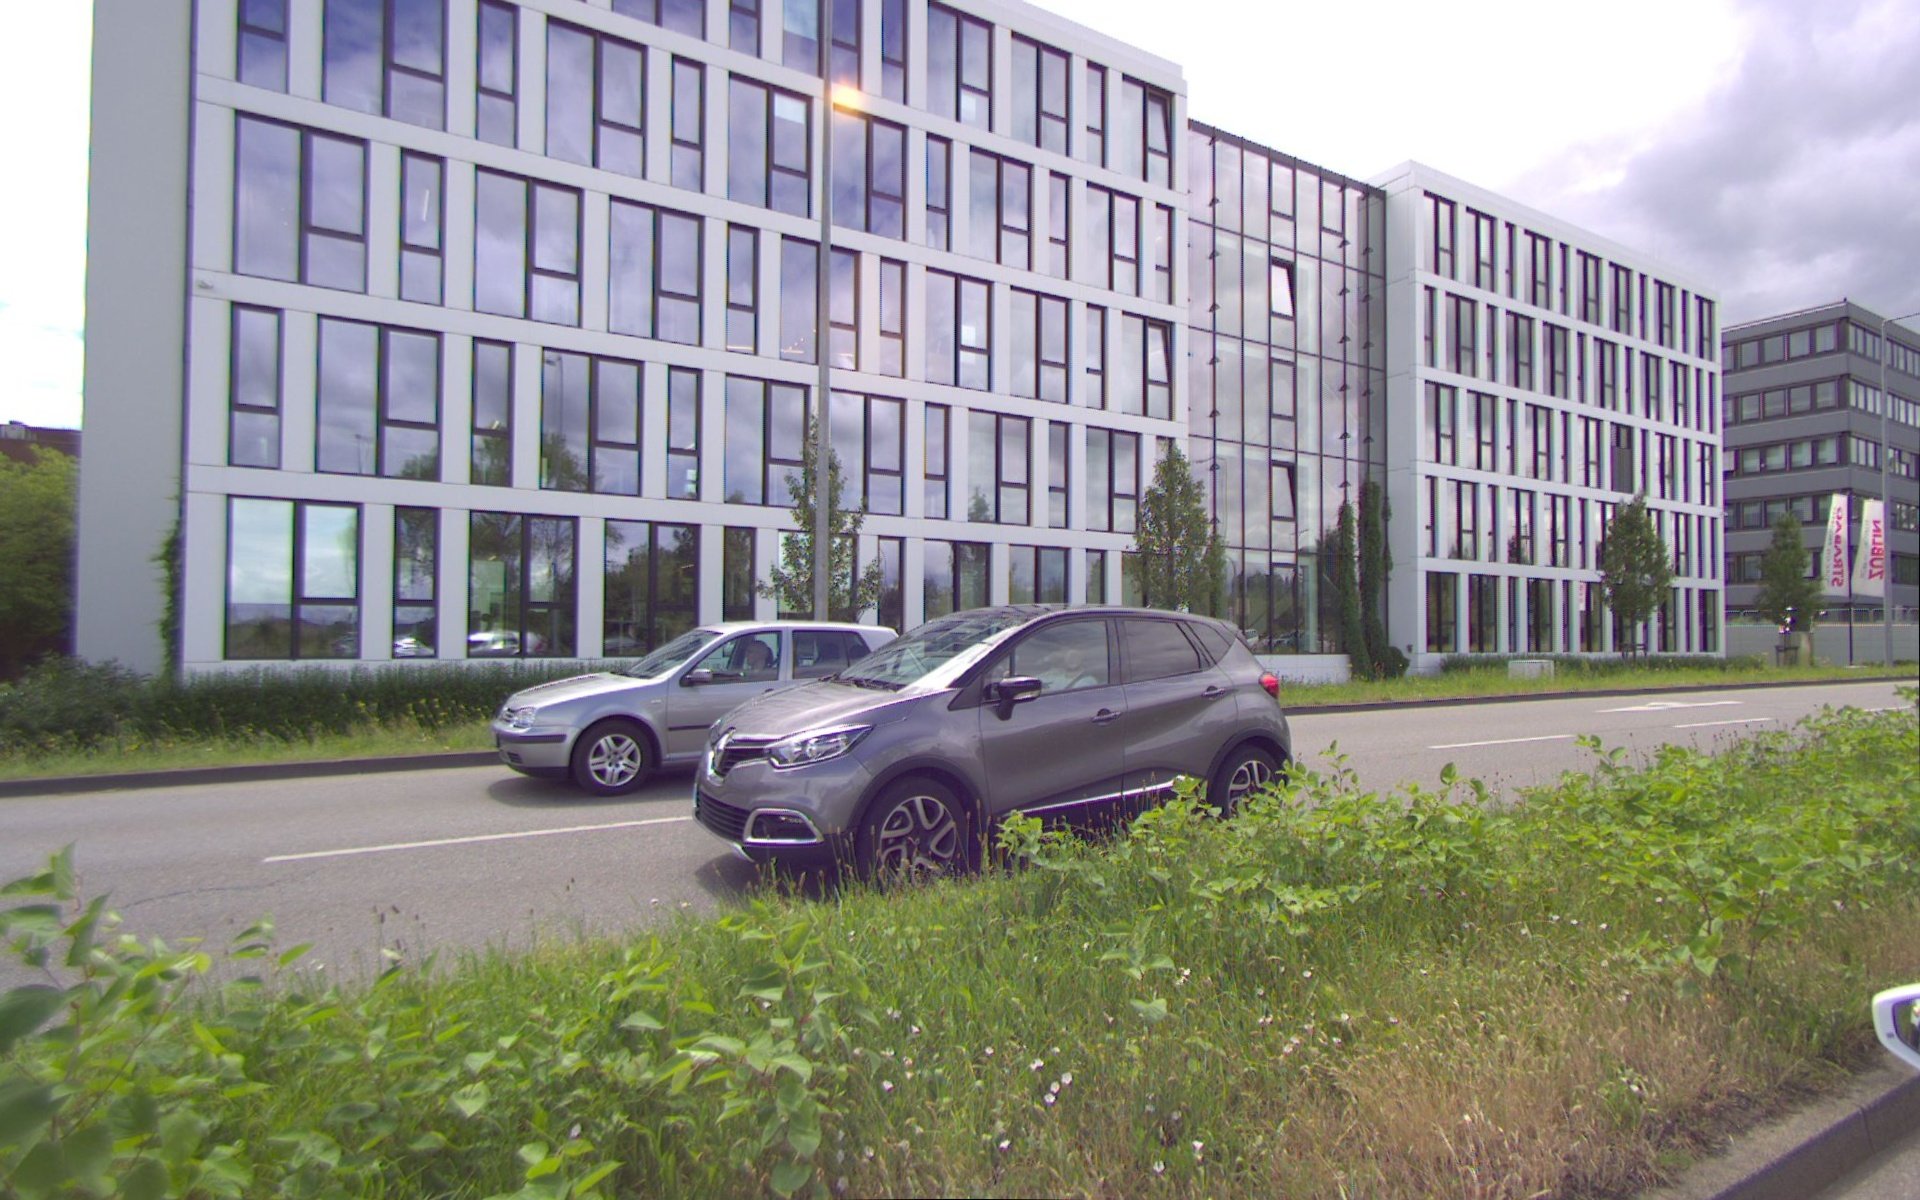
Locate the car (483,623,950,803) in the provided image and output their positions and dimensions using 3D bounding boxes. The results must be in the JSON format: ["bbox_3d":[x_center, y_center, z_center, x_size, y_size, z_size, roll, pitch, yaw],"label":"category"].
[{"bbox_3d":[-2.290,0.917,9.592,3.953,1.372,1.984,1,-1,-30],"label":"car"}]

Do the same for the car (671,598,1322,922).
[{"bbox_3d":[0.332,0.798,6.668,3.957,1.537,1.924,1,-1,-33],"label":"car"}]
